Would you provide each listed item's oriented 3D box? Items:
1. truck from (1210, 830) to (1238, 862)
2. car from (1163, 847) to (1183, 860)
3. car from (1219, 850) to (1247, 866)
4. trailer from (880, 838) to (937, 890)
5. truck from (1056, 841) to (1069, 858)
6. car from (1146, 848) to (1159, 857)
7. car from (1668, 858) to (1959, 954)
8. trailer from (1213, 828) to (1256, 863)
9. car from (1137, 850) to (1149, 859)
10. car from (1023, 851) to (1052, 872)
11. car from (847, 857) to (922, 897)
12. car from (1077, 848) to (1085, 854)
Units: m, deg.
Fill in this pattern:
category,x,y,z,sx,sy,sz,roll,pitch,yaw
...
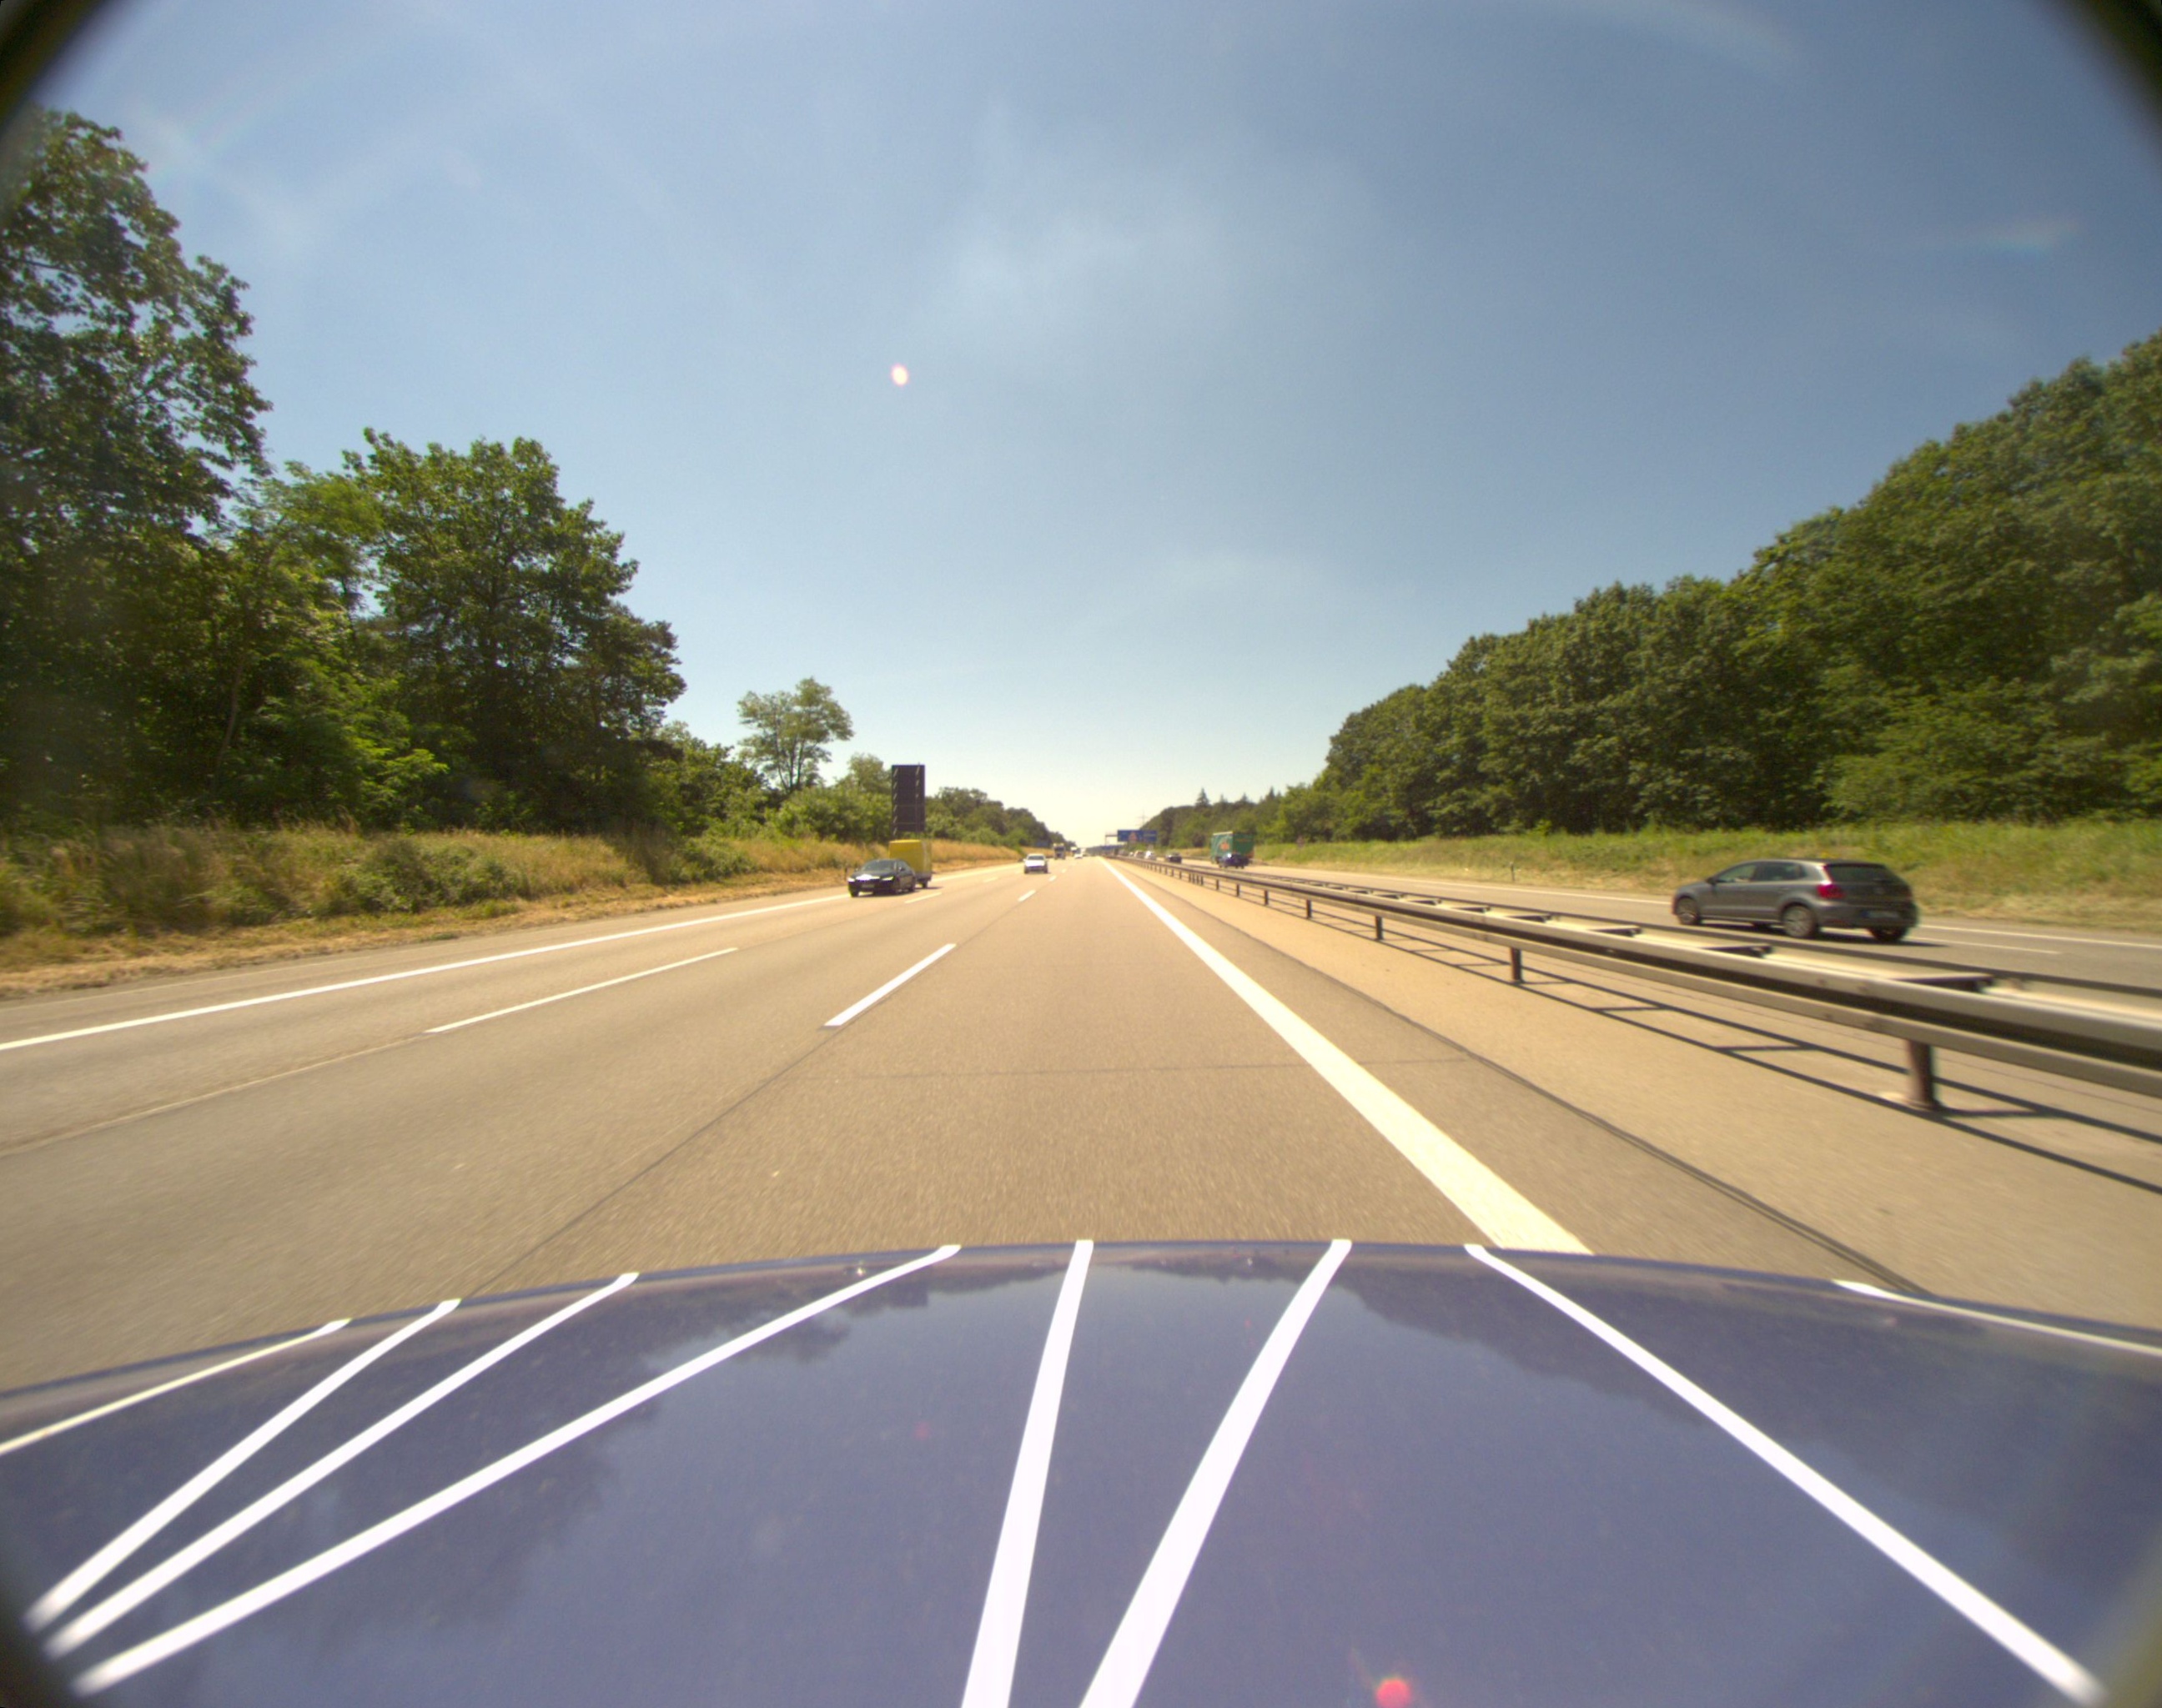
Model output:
category,x,y,z,sx,sy,sz,roll,pitch,yaw
truck,19.520,-1.099,104.009,2.707,4.137,6.296,2,1,1
car,10.572,-0.082,87.779,1.713,1.402,5.083,2,1,1
car,14.348,0.370,72.054,1.678,1.435,5.135,1,1,1
trailer,-8.075,0.451,35.892,1.707,2.276,3.839,-2,1,0
truck,-4.383,-1.127,180.825,2.605,3.811,5.969,-2,0,1
car,11.660,-0.243,124.449,1.659,1.492,4.600,2,1,1
car,13.297,0.849,14.184,1.637,1.464,3.936,1,1,1
trailer,19.410,-1.047,97.043,2.711,4.137,14.337,2,1,1
car,13.061,0.113,160.063,1.959,1.782,5.562,2,0,1
car,-3.271,0.557,57.691,1.749,1.457,3.980,-2,0,2
car,-8.056,0.900,31.579,1.826,1.447,4.788,-2,0,0
car,0.004,-0.840,186.604,1.796,1.412,3.999,-2,0,0
